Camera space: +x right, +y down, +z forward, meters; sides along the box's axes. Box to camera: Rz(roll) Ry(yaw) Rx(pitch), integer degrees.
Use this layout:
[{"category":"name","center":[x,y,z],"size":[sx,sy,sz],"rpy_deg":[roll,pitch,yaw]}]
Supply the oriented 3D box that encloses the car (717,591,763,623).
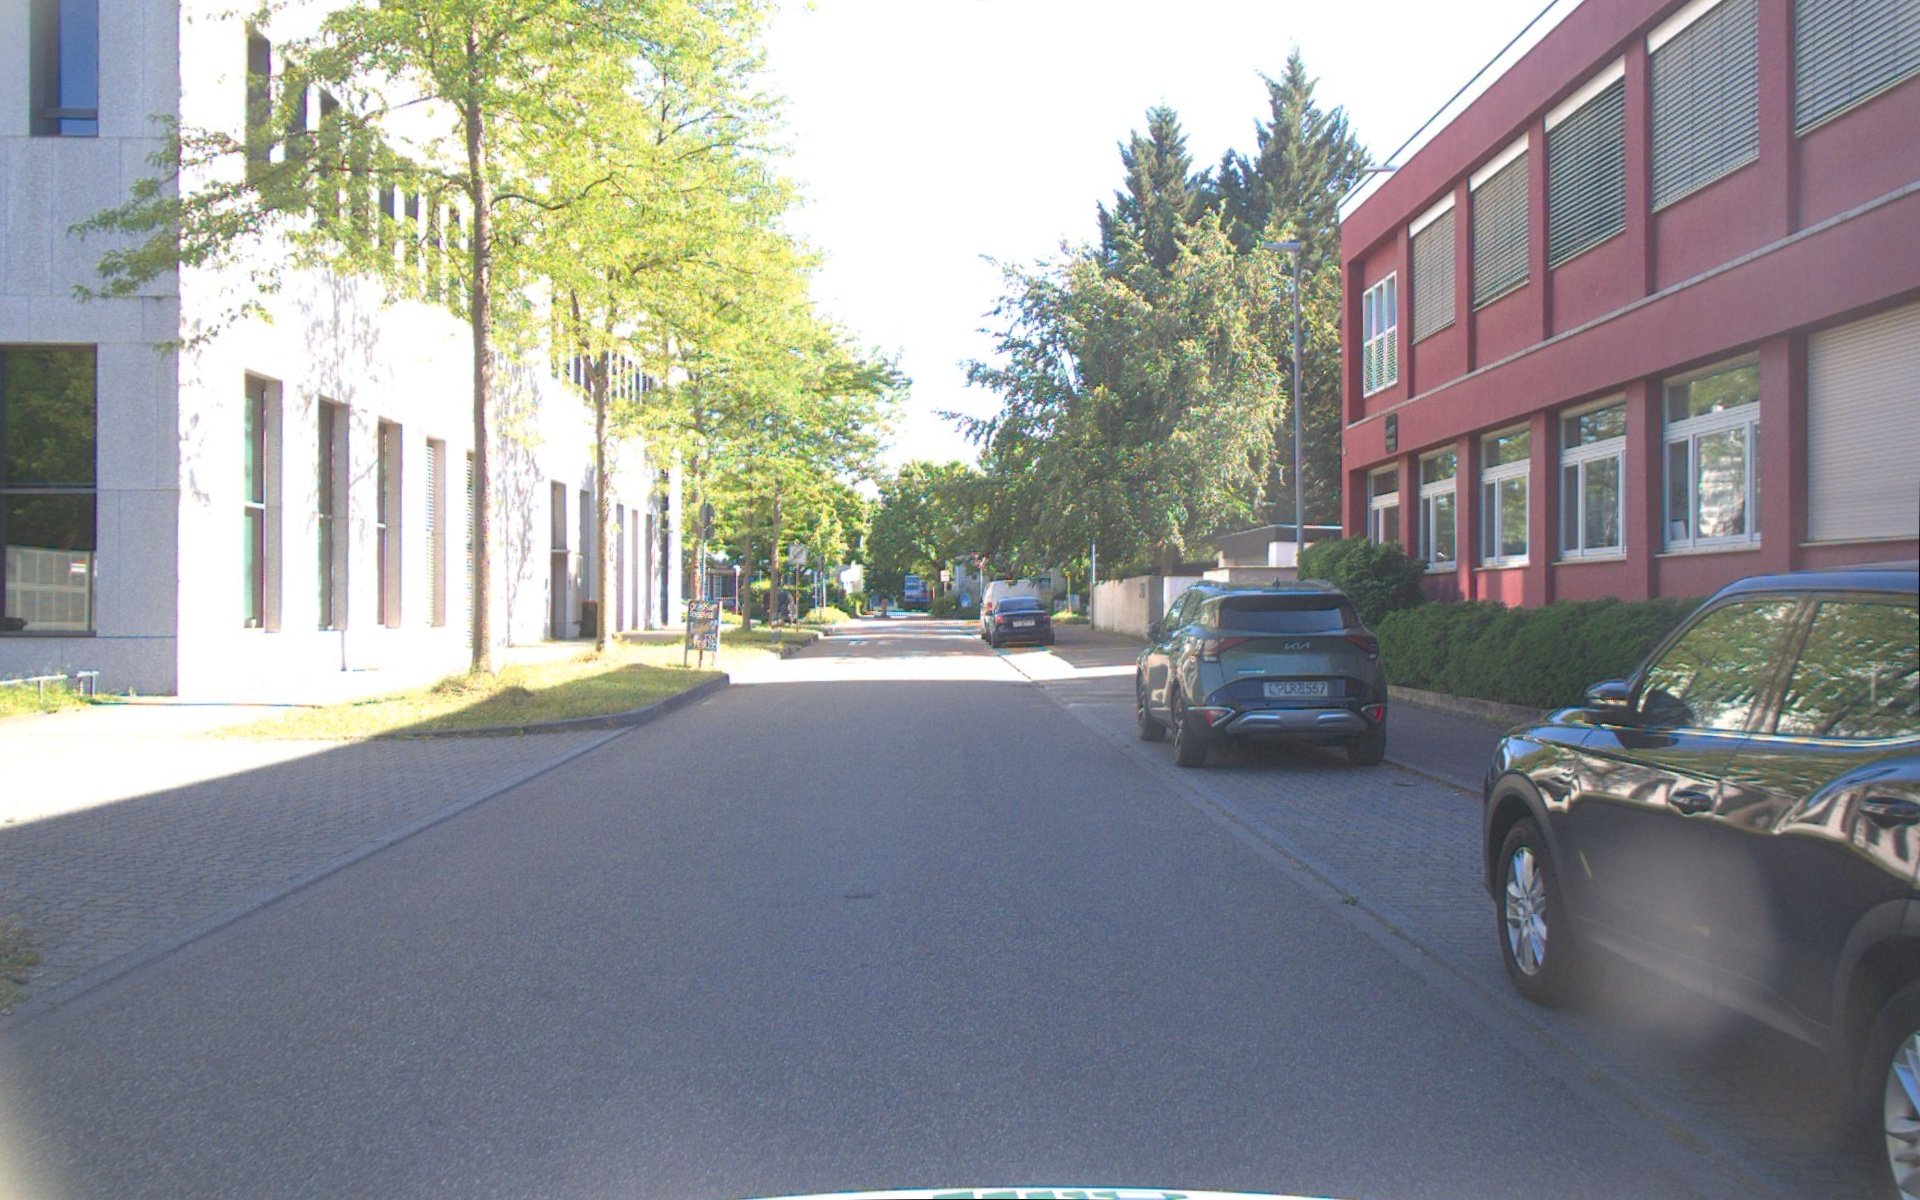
[{"category":"car","center":[-10.493,0.321,79.136],"size":[1.954,1.483,3.790],"rpy_deg":[0,0,-4]}]

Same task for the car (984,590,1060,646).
[{"category":"car","center":[1.772,0.503,48.536],"size":[1.953,1.467,3.999],"rpy_deg":[-3,0,-1]}]

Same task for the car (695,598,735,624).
[{"category":"car","center":[-13.300,0.565,89.926],"size":[1.868,1.365,3.790],"rpy_deg":[0,0,-4]}]

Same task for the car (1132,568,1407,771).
[{"category":"car","center":[2.803,0.608,15.877],"size":[1.817,1.677,3.999],"rpy_deg":[-1,-1,-1]}]

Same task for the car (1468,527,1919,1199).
[{"category":"car","center":[3.035,0.665,4.808],"size":[1.800,1.662,4.200],"rpy_deg":[0,0,-1]}]

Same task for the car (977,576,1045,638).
[{"category":"car","center":[1.628,0.219,54.269],"size":[1.953,1.866,3.999],"rpy_deg":[-3,0,-1]}]
